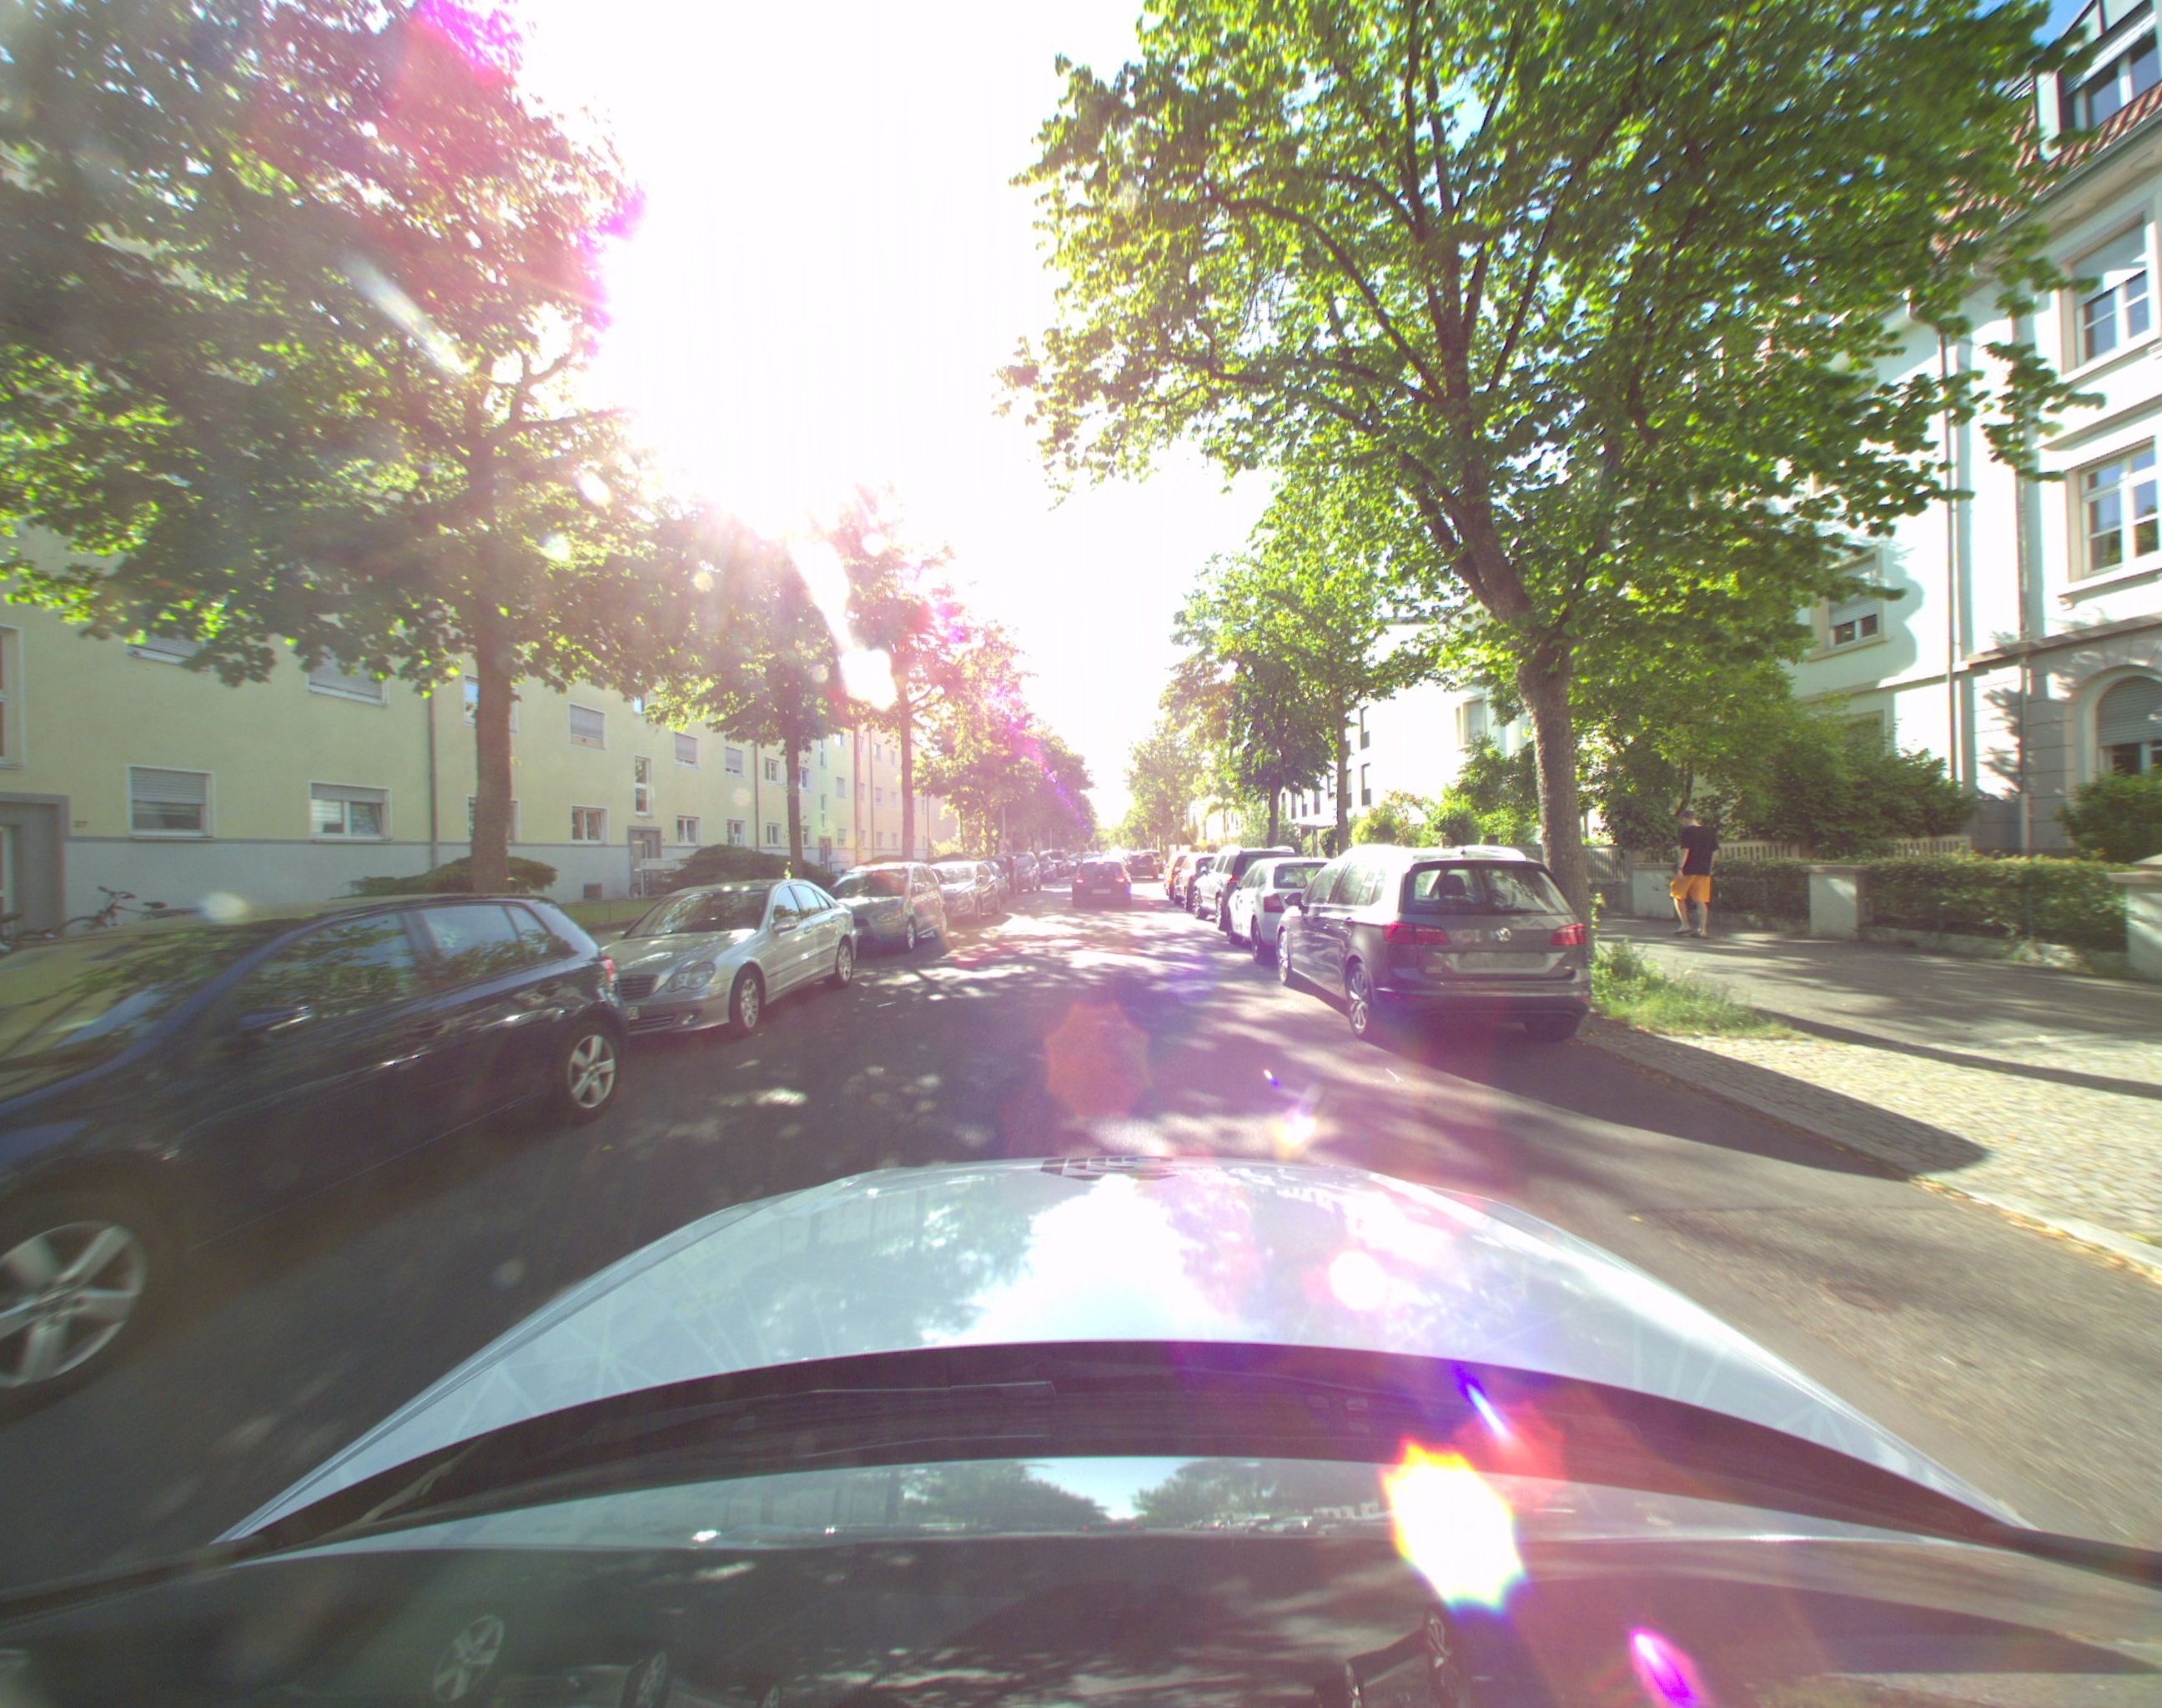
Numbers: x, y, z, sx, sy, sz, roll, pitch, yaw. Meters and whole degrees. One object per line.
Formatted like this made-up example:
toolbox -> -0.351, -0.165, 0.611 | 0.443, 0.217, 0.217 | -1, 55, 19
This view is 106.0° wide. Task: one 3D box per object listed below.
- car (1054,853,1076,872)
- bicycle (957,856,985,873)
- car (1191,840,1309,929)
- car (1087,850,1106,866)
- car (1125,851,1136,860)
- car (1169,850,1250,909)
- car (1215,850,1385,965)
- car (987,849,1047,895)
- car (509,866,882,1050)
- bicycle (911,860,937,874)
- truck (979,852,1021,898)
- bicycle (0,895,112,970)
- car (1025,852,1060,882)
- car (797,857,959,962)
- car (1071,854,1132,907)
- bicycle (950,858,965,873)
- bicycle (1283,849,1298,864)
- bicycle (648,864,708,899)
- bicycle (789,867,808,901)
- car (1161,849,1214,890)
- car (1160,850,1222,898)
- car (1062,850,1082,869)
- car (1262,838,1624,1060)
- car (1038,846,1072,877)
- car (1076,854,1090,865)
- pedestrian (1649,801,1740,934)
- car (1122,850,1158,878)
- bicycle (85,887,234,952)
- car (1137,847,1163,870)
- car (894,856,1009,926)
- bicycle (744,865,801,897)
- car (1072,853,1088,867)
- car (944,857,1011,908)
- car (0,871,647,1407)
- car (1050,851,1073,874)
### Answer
car -> -1.279, 0.711, 67.570 | 1.606, 1.427, 4.059 | -3, 0, 1
bicycle -> -8.817, 0.841, 65.413 | 2.144, 1.208, 0.688 | -2, 0, -9
car -> 3.484, 0.571, 17.411 | 1.644, 1.655, 3.845 | -1, 0, -1
car -> 1.491, 0.358, 78.456 | 1.498, 1.426, 3.183 | -2, 0, 6
car -> 8.515, 0.222, 140.852 | 1.712, 1.480, 3.857 | -2, 0, 5
car -> 3.459, 0.635, 22.536 | 1.644, 1.428, 3.612 | -2, 0, 0
car -> 3.204, 0.688, 12.770 | 1.623, 1.425, 4.371 | -2, 0, 2
car -> -2.602, 0.677, 34.174 | 1.842, 1.680, 4.979 | -4, 0, 2
car -> -3.790, 0.906, 9.130 | 1.738, 1.368, 4.677 | -3, 0, 2
bicycle -> -12.545, 1.024, 65.162 | 1.919, 0.991, 0.595 | -2, 0, -5
truck -> -2.905, 0.732, 29.547 | 1.079, 1.577, 2.435 | -2, 0, 4
bicycle -> -14.078, 1.050, 10.875 | 1.627, 0.930, 0.481 | -2, 0, -1
car -> -2.130, 0.694, 46.128 | 1.502, 1.548, 4.780 | -4, 0, 2
car -> -3.548, 0.892, 15.067 | 1.613, 1.515, 4.272 | -4, 0, 3
car -> 0.633, 0.733, 24.261 | 1.643, 1.397, 3.413 | -2, 0, 2
bicycle -> -8.581, 0.765, 56.567 | 0.592, 0.991, 1.929 | -2, 0, 2
bicycle -> 14.858, 0.186, 57.891 | 0.544, 1.055, 1.779 | -2, 0, 0
bicycle -> -13.679, 0.919, 27.655 | 1.830, 1.146, 0.487 | 1, -1, 5
bicycle -> -9.237, 0.964, 26.630 | 0.487, 1.081, 1.832 | 1, -1, -22
car -> 4.127, 0.579, 32.154 | 1.693, 1.449, 4.085 | -2, 0, 3
car -> 3.645, 0.607, 27.598 | 1.630, 1.454, 4.102 | -2, 0, 2
car -> -0.840, 0.526, 78.103 | 1.606, 1.679, 4.235 | -3, 0, 1
car -> 3.129, 0.678, 8.173 | 1.678, 1.588, 4.536 | 1, 0, 1
car -> -1.775, 0.490, 56.653 | 1.819, 1.904, 5.146 | -3, 0, 3
car -> 0.235, 0.689, 104.780 | 1.606, 1.392, 3.867 | -3, 0, 1
pedestrian -> 8.604, 0.180, 11.450 | 0.620, 1.775, 0.800 | -2, 0, 2
car -> 3.322, 0.543, 46.451 | 1.645, 1.425, 3.999 | -2, 0, -1
bicycle -> -14.612, 1.028, 12.939 | 1.630, 0.930, 0.480 | -2, 0, -6
car -> 5.001, 0.337, 59.538 | 1.840, 1.631, 4.415 | -1, 0, 4
car -> -3.131, 0.851, 20.676 | 1.784, 1.444, 4.693 | -3, 0, 4
bicycle -> -11.111, 0.984, 29.361 | 1.834, 1.081, 0.486 | -2, 0, -1
car -> -0.104, 0.643, 95.324 | 1.606, 1.543, 3.867 | -3, 0, 1
car -> -3.175, 0.834, 25.525 | 1.515, 1.395, 3.727 | -2, 0, 1
car -> -3.917, 0.885, 3.652 | 1.658, 1.458, 3.935 | -2, 0, 2
car -> -1.466, 0.625, 62.262 | 1.607, 1.611, 4.229 | -3, 0, 0
